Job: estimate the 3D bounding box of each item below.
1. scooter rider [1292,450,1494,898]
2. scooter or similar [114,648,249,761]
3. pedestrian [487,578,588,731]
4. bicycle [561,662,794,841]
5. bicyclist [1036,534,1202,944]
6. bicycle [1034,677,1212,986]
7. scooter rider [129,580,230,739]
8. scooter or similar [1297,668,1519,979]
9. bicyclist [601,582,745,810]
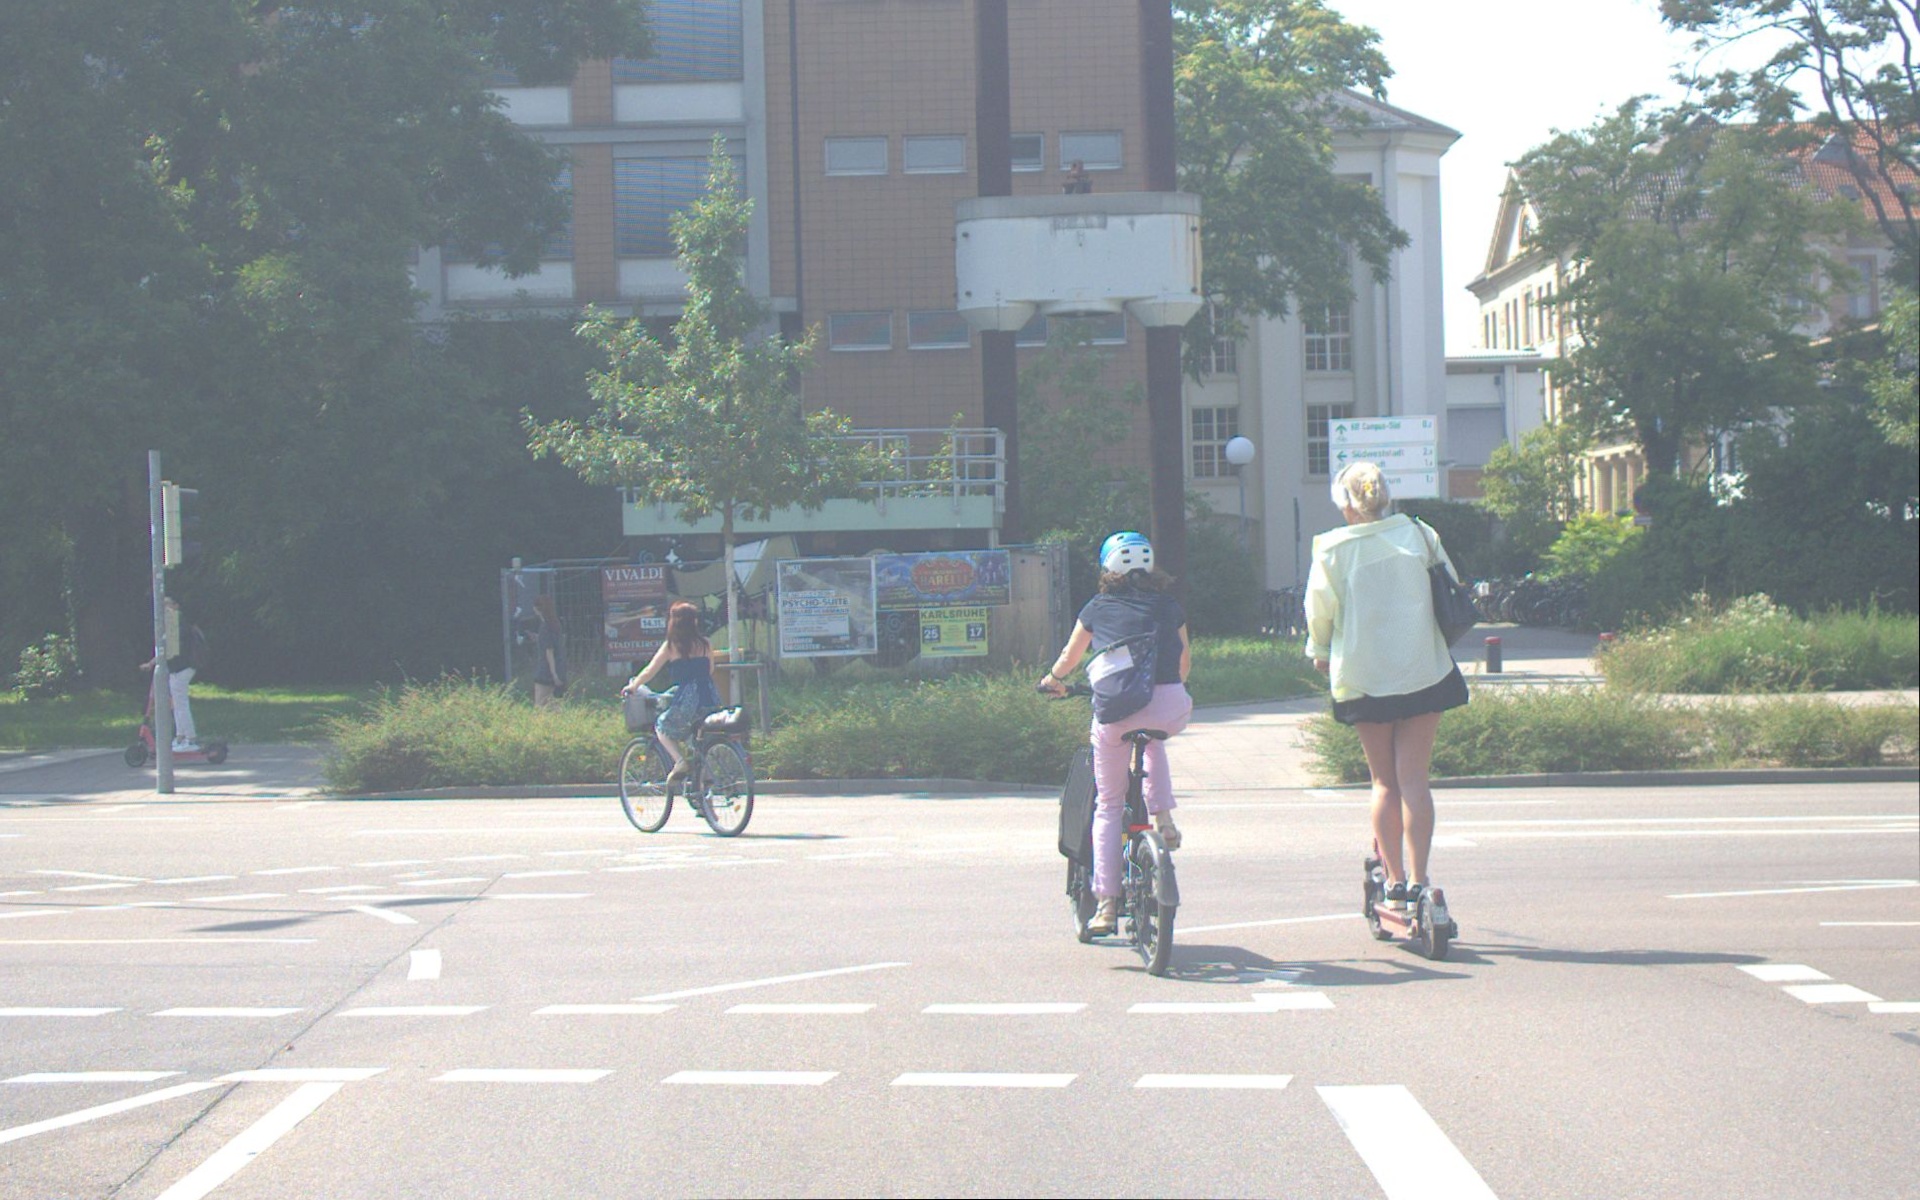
[{"bbox_3d":[1.684,0.281,13.429,0.670,1.694,0.539,-2,0,0],"label":"scooter rider"},{"bbox_3d":[-8.722,1.168,38.510,1.365,1.230,0.585,-1,0,23],"label":"scooter or similar"},{"bbox_3d":[-4.834,0.622,39.376,0.877,1.698,0.707,-2,2,17],"label":"pedestrian"},{"bbox_3d":[-2.095,1.075,25.163,0.694,1.151,2.371,-3,2,-30],"label":"bicycle"},{"bbox_3d":[0.593,0.505,12.998,0.548,1.491,0.804,-1,0,0],"label":"bicyclist"},{"bbox_3d":[0.609,0.856,13.365,0.556,1.056,2.004,-1,0,0],"label":"bicycle"},{"bbox_3d":[-8.726,0.661,38.440,0.803,1.733,0.688,-1,1,23],"label":"scooter rider"},{"bbox_3d":[1.703,0.821,13.329,0.556,1.056,2.004,-2,0,0],"label":"scooter or similar"},{"bbox_3d":[-2.104,0.688,25.148,0.690,1.593,0.844,-3,2,-30],"label":"bicyclist"}]
